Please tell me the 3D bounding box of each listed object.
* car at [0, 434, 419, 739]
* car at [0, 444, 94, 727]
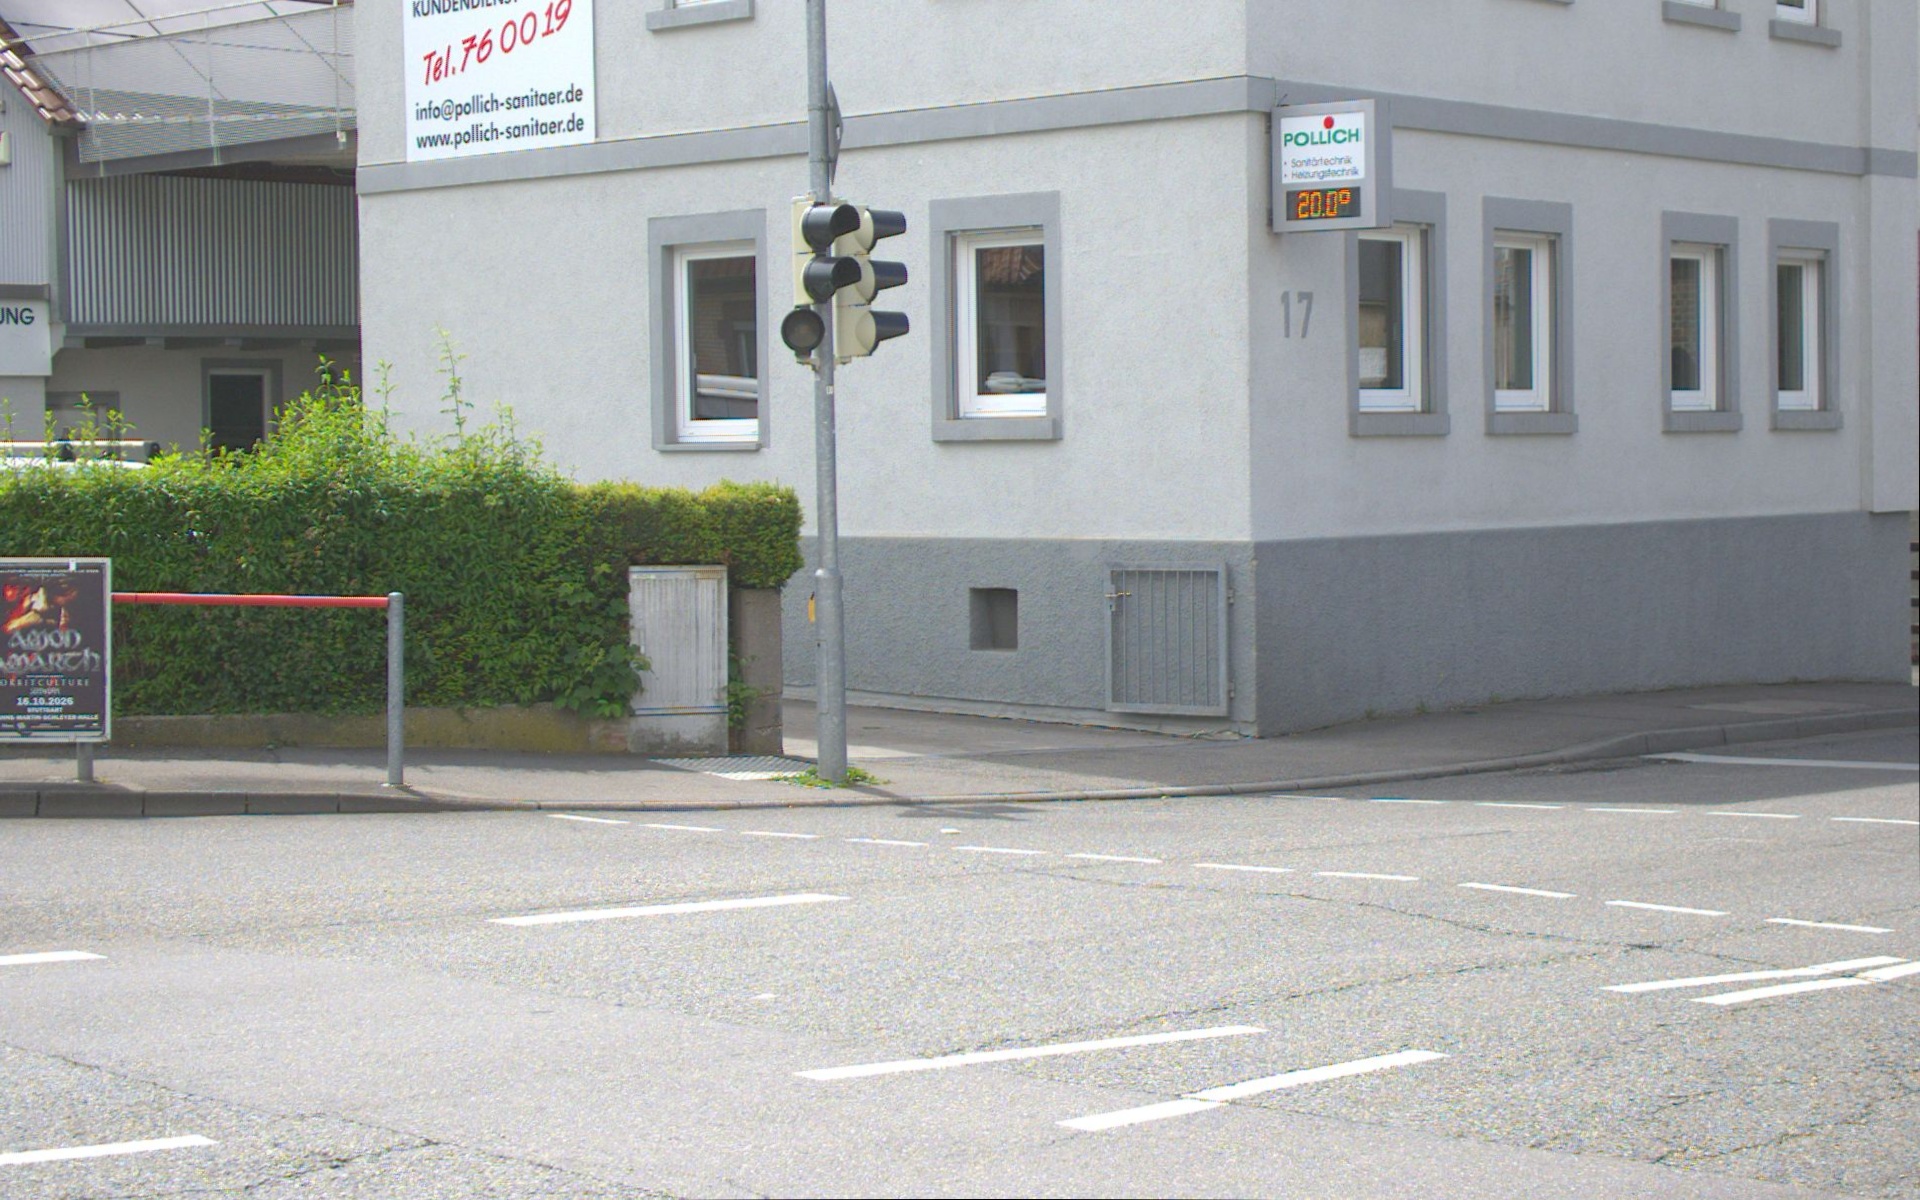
[{"bbox_3d":[-5.925,-0.123,23.541,1.998,1.941,3.990,1,2,43],"label":"car"},{"bbox_3d":[-8.402,-0.090,24.248,1.999,2.007,3.990,1,2,43],"label":"car"}]
